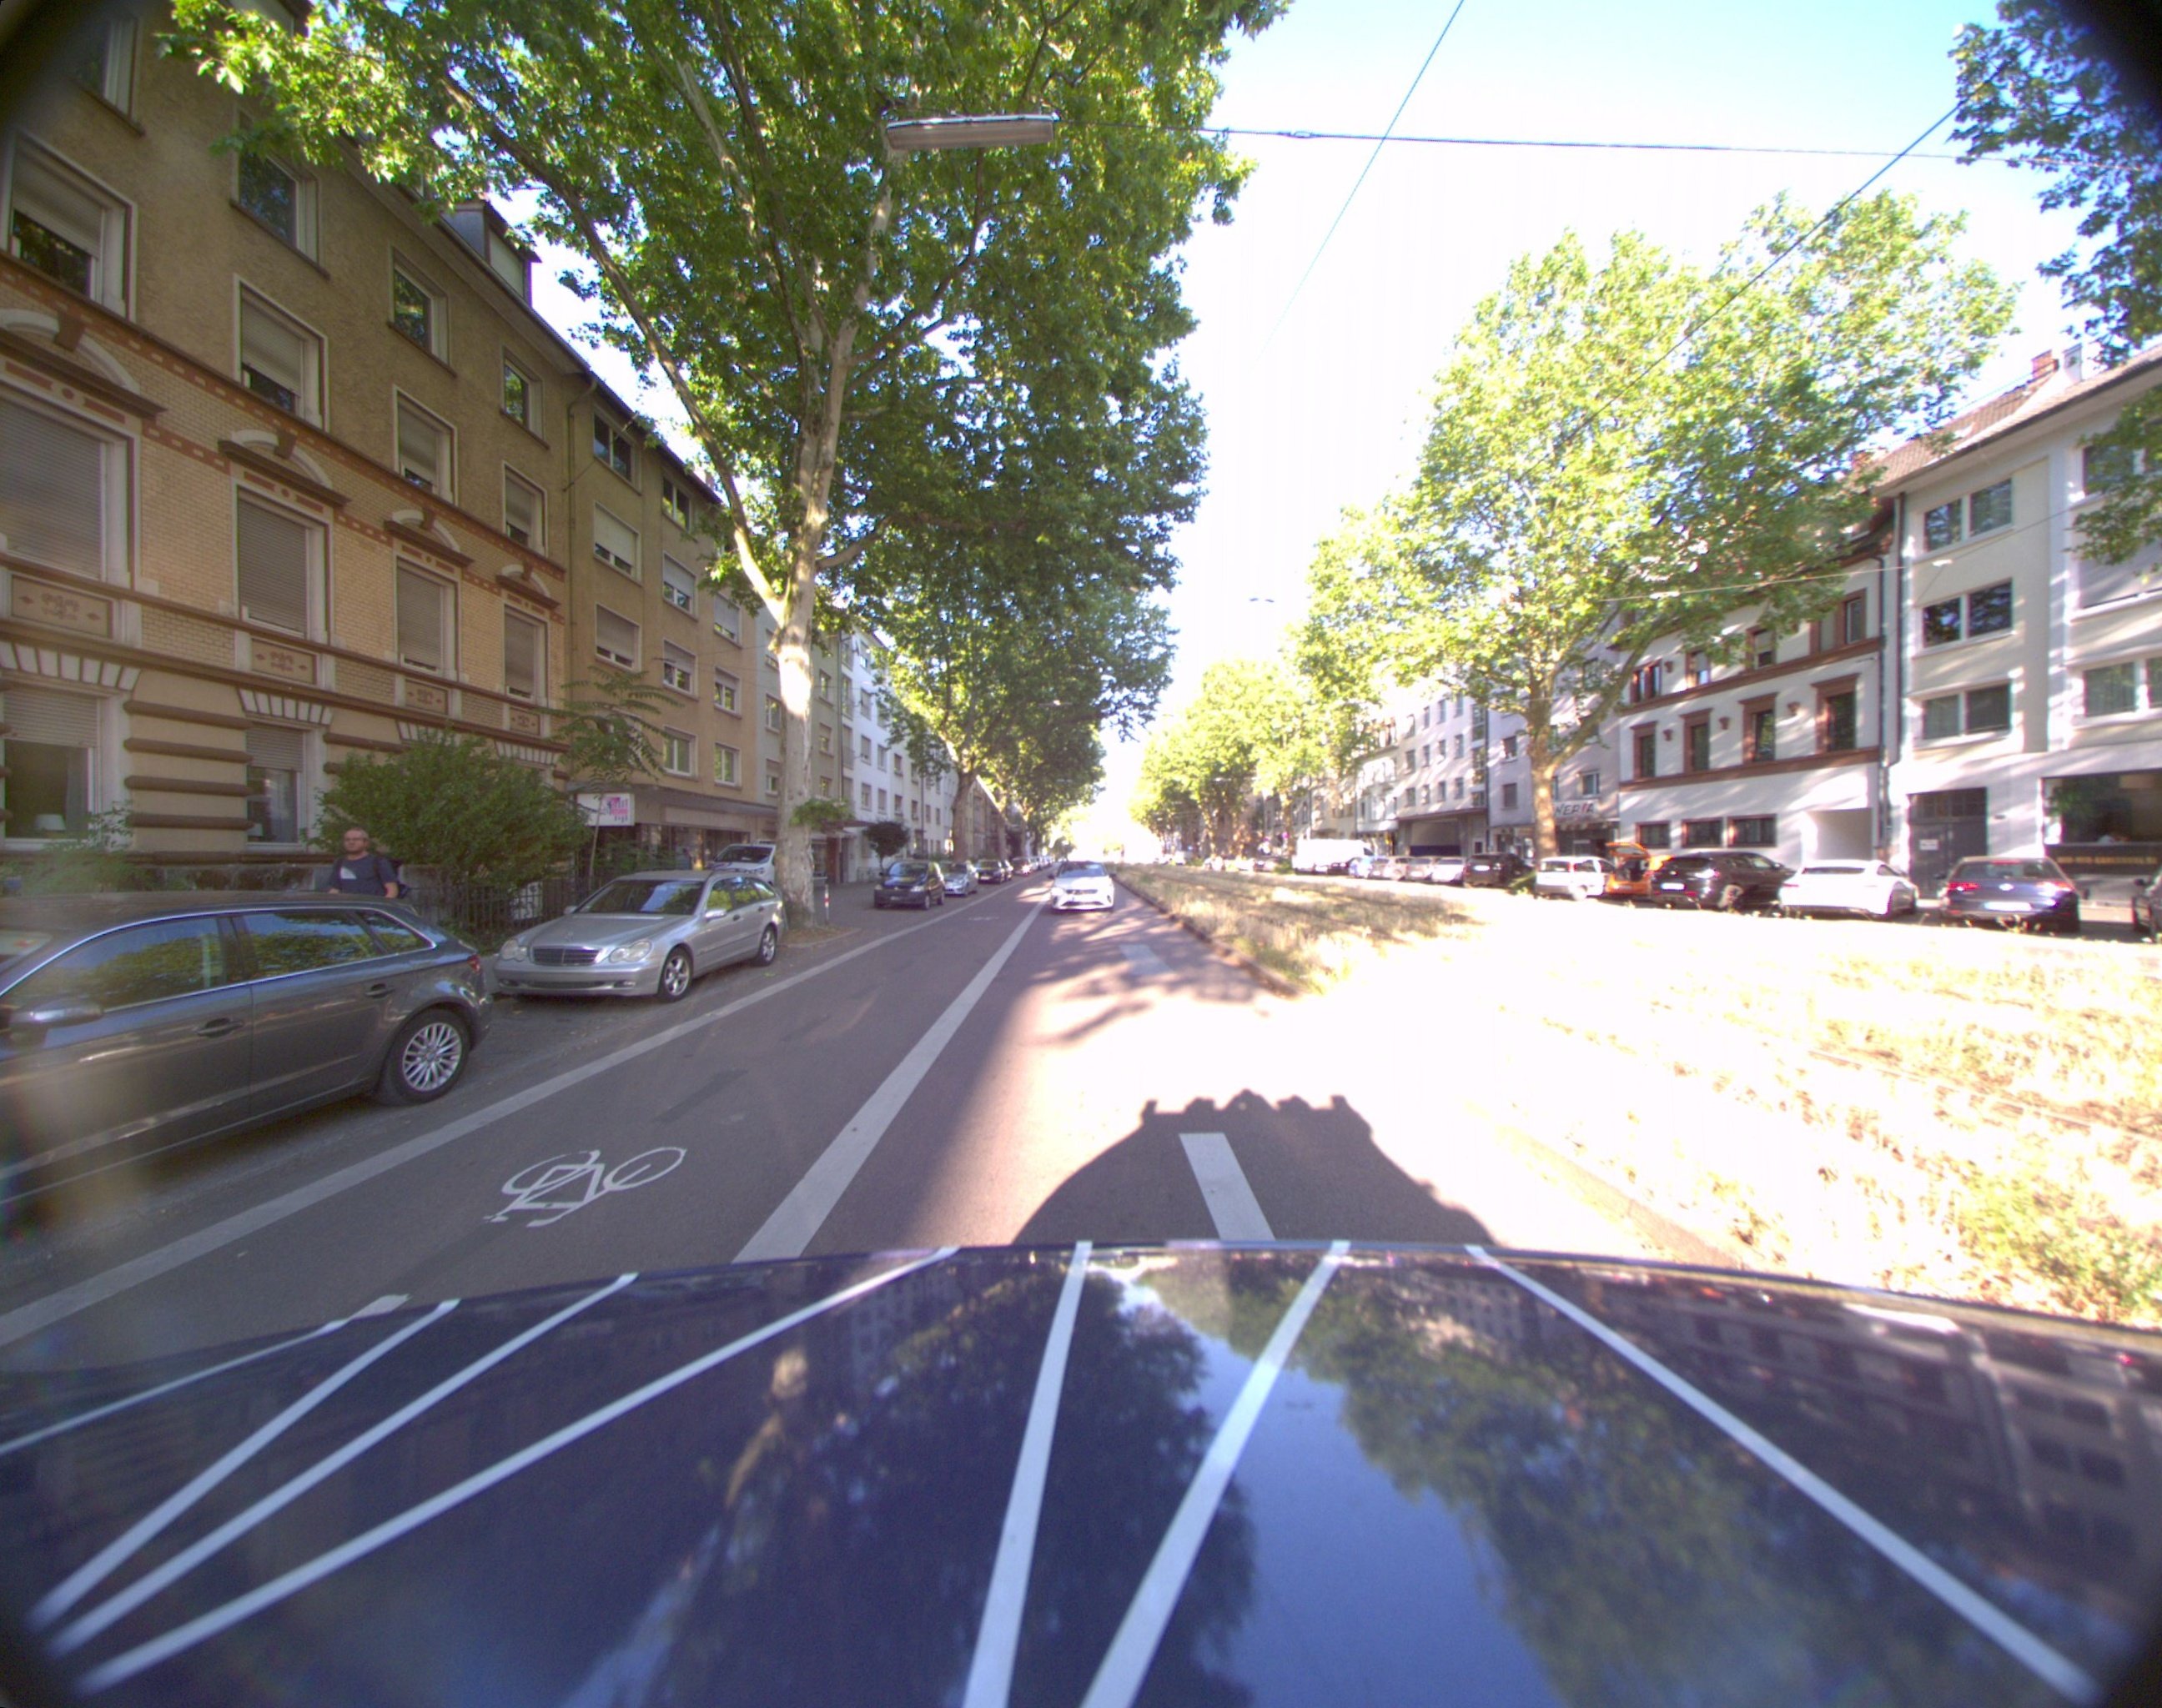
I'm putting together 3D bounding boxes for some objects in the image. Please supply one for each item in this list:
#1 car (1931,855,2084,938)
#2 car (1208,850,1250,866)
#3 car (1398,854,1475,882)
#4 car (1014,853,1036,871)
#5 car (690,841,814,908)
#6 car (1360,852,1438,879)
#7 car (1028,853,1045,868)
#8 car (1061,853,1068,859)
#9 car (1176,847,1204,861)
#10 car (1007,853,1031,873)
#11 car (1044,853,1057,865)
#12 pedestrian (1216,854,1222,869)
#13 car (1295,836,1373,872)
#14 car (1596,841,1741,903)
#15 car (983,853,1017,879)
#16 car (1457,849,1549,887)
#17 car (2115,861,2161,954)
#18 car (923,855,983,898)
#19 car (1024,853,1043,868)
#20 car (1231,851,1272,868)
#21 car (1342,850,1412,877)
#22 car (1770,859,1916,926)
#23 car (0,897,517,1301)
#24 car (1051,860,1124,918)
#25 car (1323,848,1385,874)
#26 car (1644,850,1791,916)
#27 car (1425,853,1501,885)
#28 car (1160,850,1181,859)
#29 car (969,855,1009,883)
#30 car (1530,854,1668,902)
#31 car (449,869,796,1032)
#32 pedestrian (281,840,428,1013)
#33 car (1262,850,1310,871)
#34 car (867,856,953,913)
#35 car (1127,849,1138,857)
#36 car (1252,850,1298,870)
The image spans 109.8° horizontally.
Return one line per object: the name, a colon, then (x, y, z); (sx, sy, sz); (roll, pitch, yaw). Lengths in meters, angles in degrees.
car: (19.344, 0.780, 16.029); (3.979, 1.495, 1.827); (-1, 1, -42)
car: (16.271, 0.458, 83.725); (4.234, 1.696, 1.999); (0, 0, -4)
car: (19.208, 0.719, 40.964); (4.265, 1.449, 1.902); (-1, 0, -36)
car: (-5.387, 0.773, 73.437); (1.803, 1.599, 4.104); (2, 0, -1)
car: (-10.373, 0.587, 24.382); (1.933, 1.864, 4.677); (2, 0, -1)
car: (18.880, 0.674, 45.159); (4.004, 1.509, 1.996); (0, 0, -20)
car: (-5.374, 0.729, 92.928); (1.803, 1.742, 4.104); (2, 0, -1)
car: (-5.285, 0.653, 240.302); (1.998, 2.002, 4.000); (-2, 1, 1)
car: (18.690, -0.020, 129.988); (4.952, 2.200, 2.096); (-1, 1, -42)
car: (-5.362, 0.787, 66.260); (1.803, 1.599, 4.104); (2, 0, -1)
car: (-4.414, 0.711, 109.855); (1.803, 1.598, 3.702); (2, 0, -1)
pedestrian: (15.079, 0.840, 82.882); (0.620, 1.588, 0.422); (0, 1, 1)
car: (19.191, -0.021, 57.589); (5.619, 2.684, 2.176); (-1, 1, -24)
car: (19.425, 0.568, 25.137); (4.260, 1.932, 1.514); (0, 1, -15)
car: (-5.389, 0.801, 51.159); (1.803, 1.599, 4.369); (2, 0, -1)
car: (18.924, 0.592, 34.014); (4.265, 1.605, 1.902); (-1, 1, -35)
car: (19.131, 0.841, 12.707); (3.979, 1.424, 1.738); (-1, -1, -42)
car: (-5.338, 0.903, 32.254); (1.803, 1.599, 4.369); (2, 0, -1)
car: (-5.381, 0.739, 86.621); (1.803, 1.599, 4.104); (2, 0, -1)
car: (18.271, 0.584, 81.459); (4.006, 1.696, 1.995); (-1, 1, -27)
car: (18.792, 0.559, 48.286); (4.006, 1.608, 1.995); (-1, 0, -27)
car: (18.560, 0.842, 18.446); (4.266, 1.369, 2.147); (-1, 0, -40)
car: (-5.202, 1.062, 3.555); (1.802, 1.393, 4.370); (2, 0, 1)
car: (0.148, 0.924, 21.745); (1.865, 1.394, 3.931); (-2, 0, 0)
car: (19.750, 0.457, 54.882); (4.006, 1.805, 1.995); (-1, 1, -27)
car: (18.223, 0.743, 21.731); (4.265, 1.674, 2.147); (-1, 1, -34)
car: (18.973, 0.701, 37.686); (4.265, 1.451, 1.598); (-1, 1, -36)
car: (18.126, 0.143, 153.769); (3.994, 1.802, 1.874); (0, 1, 10)
car: (-5.462, 0.847, 45.581); (1.803, 1.494, 4.369); (2, 0, -1)
car: (18.141, 0.794, 26.648); (4.260, 1.548, 1.641); (0, 1, -15)
car: (-5.383, 1.006, 9.787); (1.803, 1.446, 4.511); (2, 0, -1)
pedestrian: (-7.575, 0.721, 7.963); (0.728, 1.701, 0.816); (2, 1, 0)
car: (18.829, 0.587, 69.761); (4.006, 1.805, 1.995); (-1, 1, -27)
car: (-5.407, 0.895, 24.583); (1.803, 1.599, 4.369); (2, 0, -1)
car: (15.140, -0.343, 223.429); (2.963, 2.407, 6.327); (-2, 1, 1)
car: (18.652, 0.578, 73.033); (4.006, 1.805, 1.995); (-1, 1, -27)
